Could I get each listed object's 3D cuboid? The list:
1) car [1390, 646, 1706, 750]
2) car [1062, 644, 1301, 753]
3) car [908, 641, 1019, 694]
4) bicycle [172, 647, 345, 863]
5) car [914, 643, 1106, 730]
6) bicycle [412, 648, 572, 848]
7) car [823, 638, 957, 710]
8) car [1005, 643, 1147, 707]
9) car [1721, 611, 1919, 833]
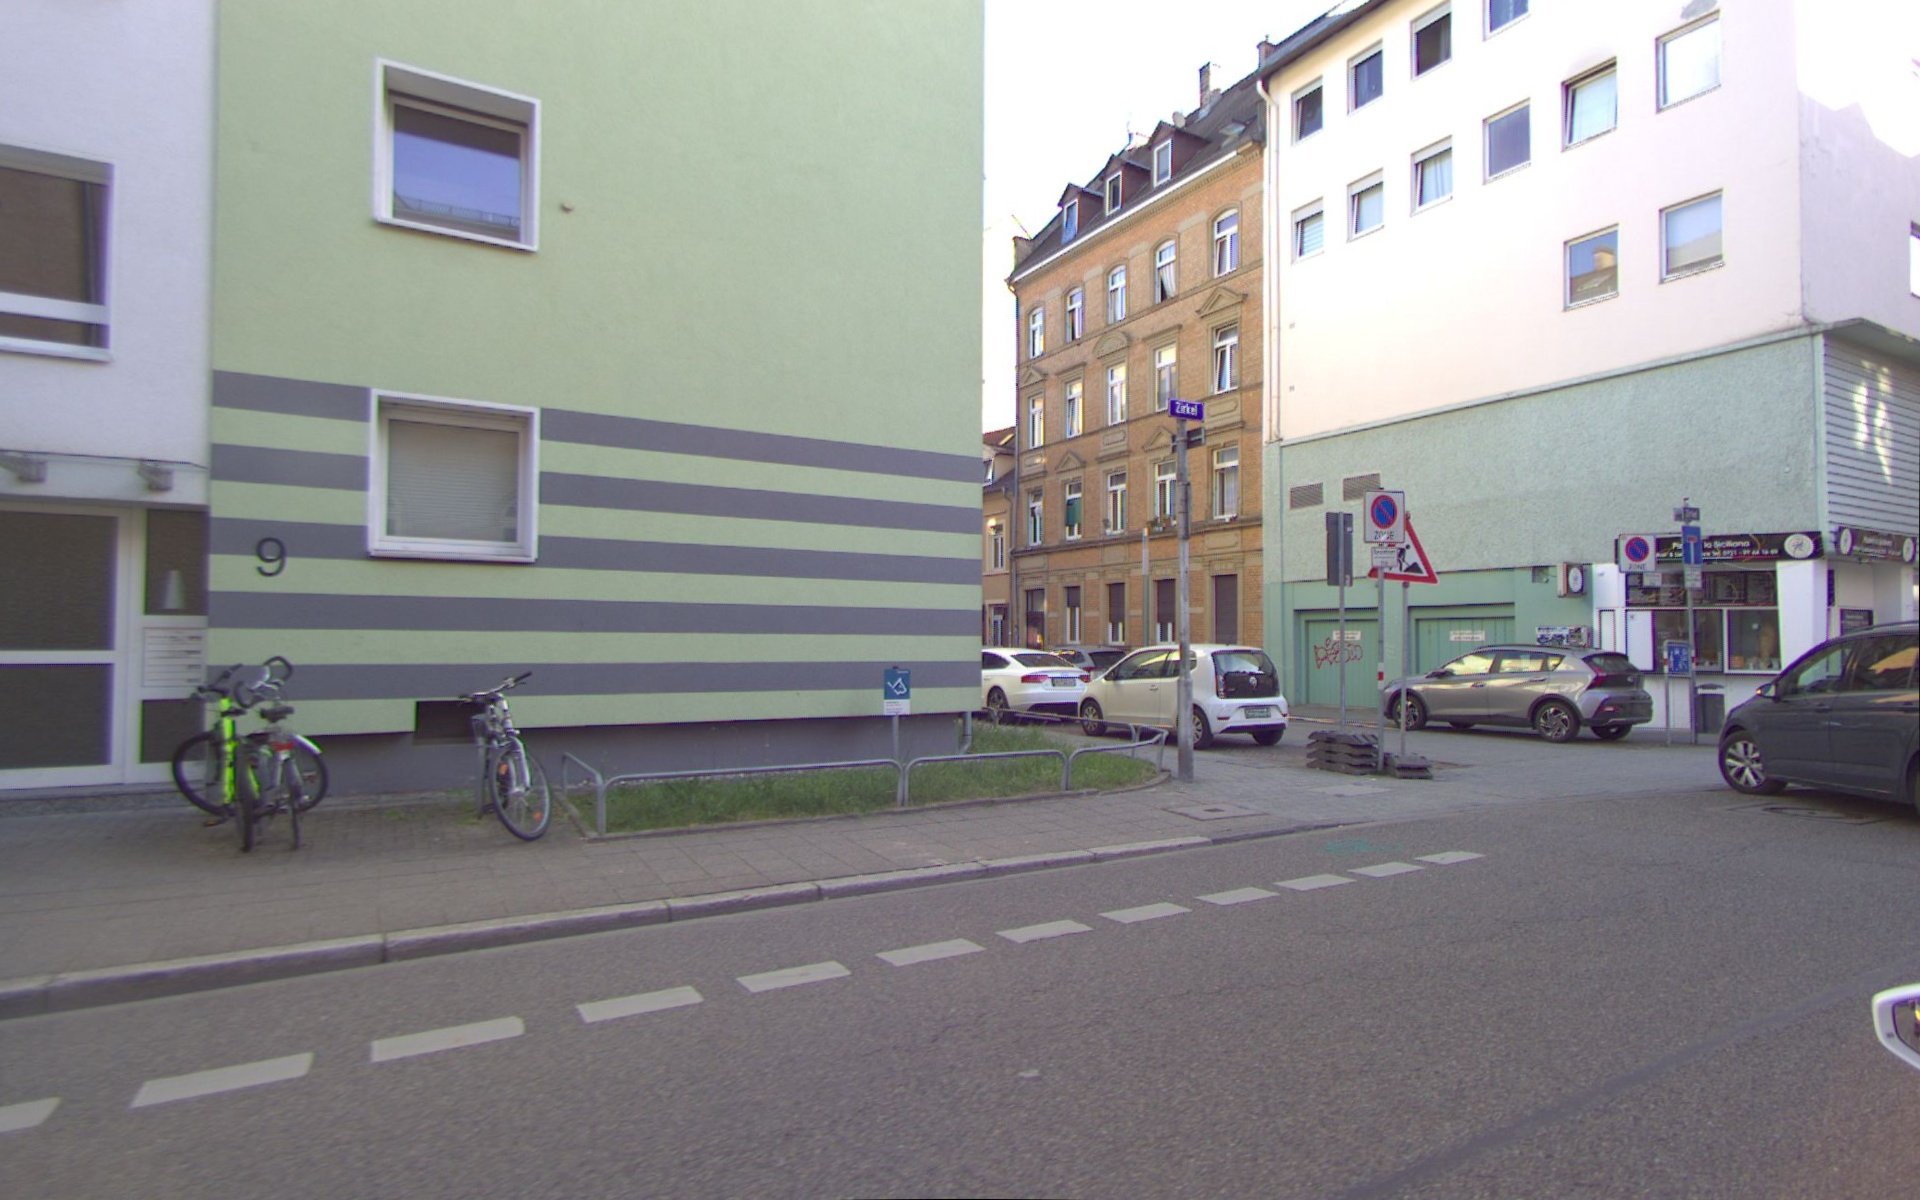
[{"bbox_3d":[9.473,1.499,16.543,1.924,1.461,4.081,1,-3,-29],"label":"car"},{"bbox_3d":[3.314,1.429,15.605,1.791,1.461,3.486,1,-3,-29],"label":"car"},{"bbox_3d":[0.053,2.099,31.939,1.705,1.521,4.025,1,-2,-31],"label":"car"},{"bbox_3d":[-4.919,0.983,6.989,1.908,1.195,0.610,2,0,44],"label":"bicycle"},{"bbox_3d":[0.861,1.616,19.936,1.792,1.462,4.338,1,-2,-29],"label":"car"},{"bbox_3d":[-3.546,1.017,7.517,0.608,1.195,1.913,2,0,-39],"label":"bicycle"},{"bbox_3d":[-1.826,1.768,25.088,1.705,1.603,4.025,1,-2,-31],"label":"car"},{"bbox_3d":[3.039,1.950,26.988,1.705,1.521,4.025,1,-2,-31],"label":"car"},{"bbox_3d":[8.213,0.938,8.295,1.732,1.628,4.002,1,-1,16],"label":"car"}]
